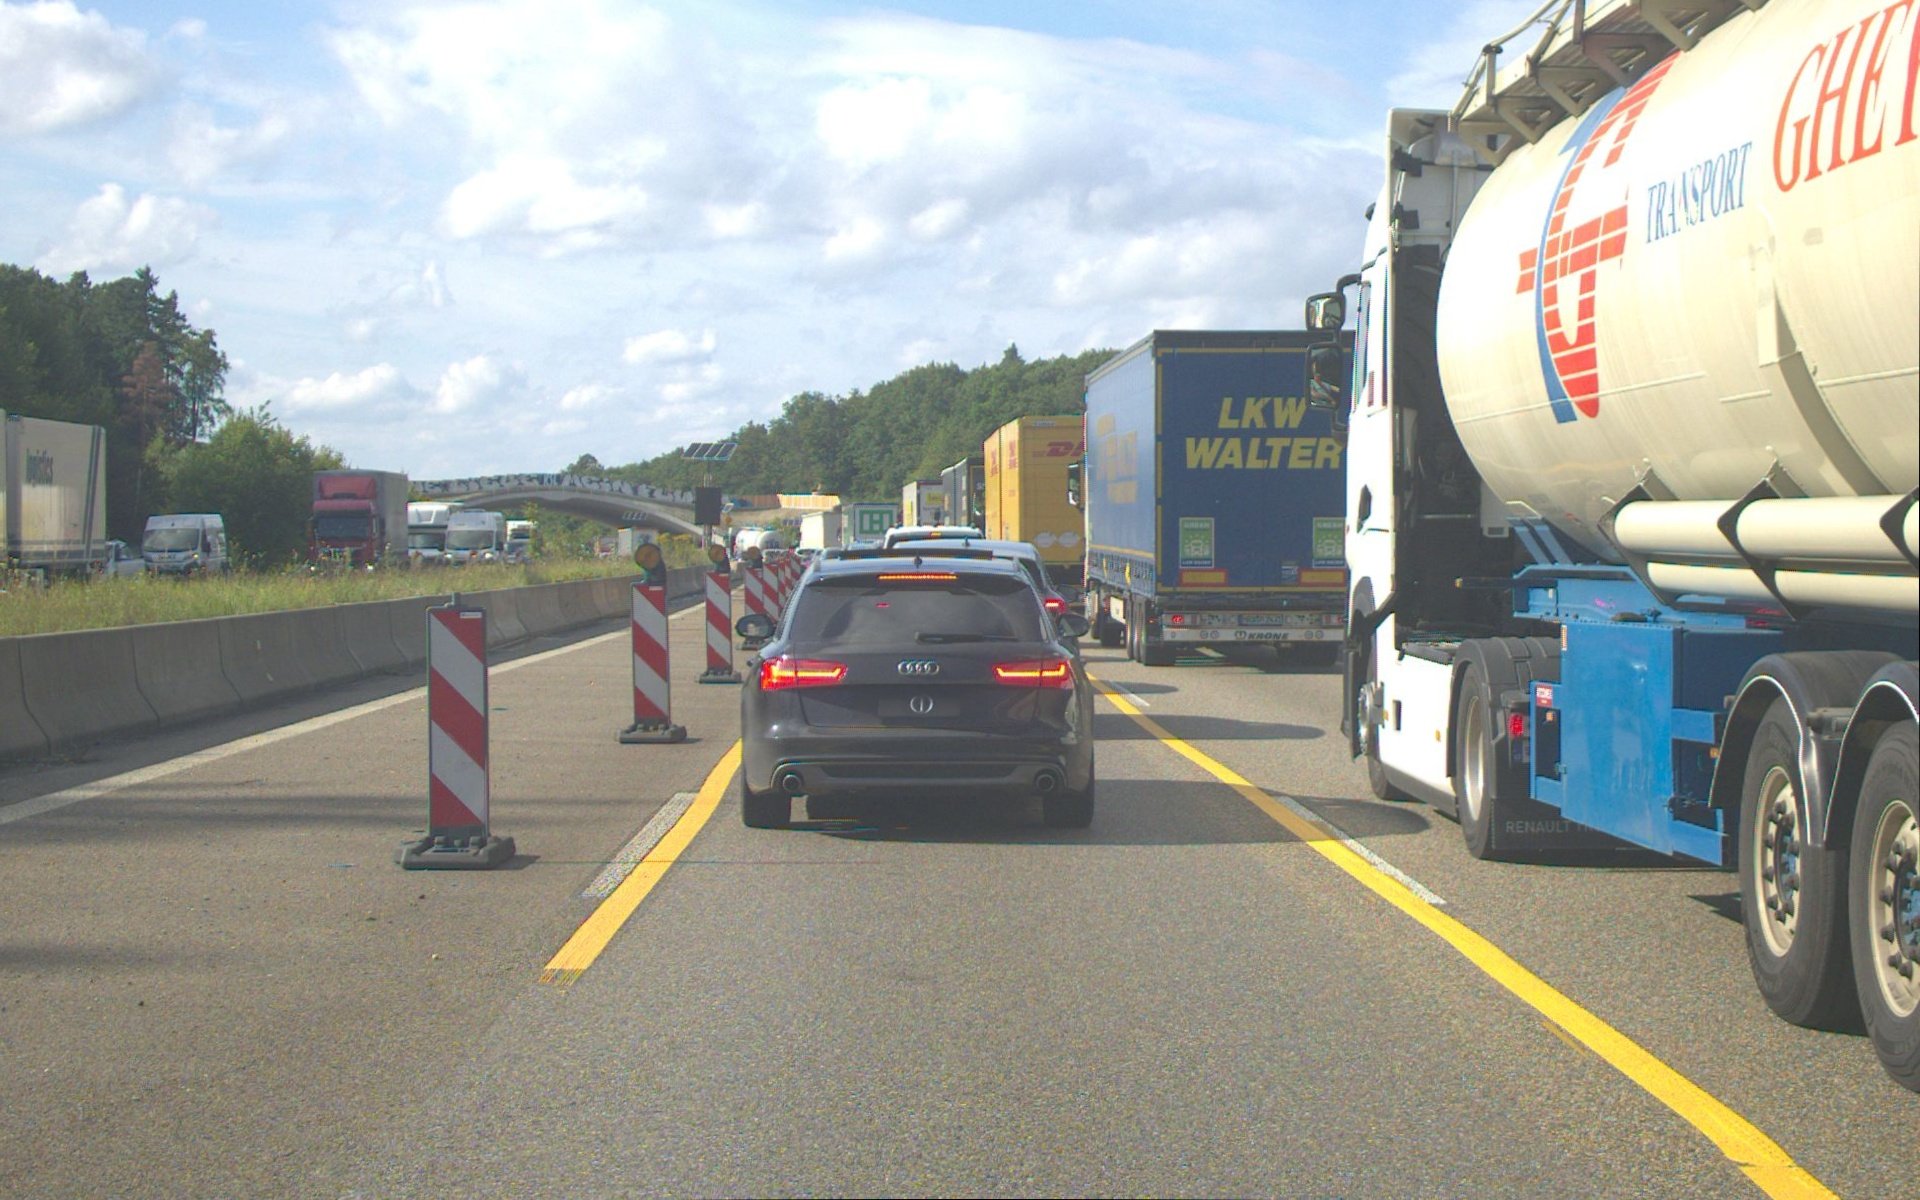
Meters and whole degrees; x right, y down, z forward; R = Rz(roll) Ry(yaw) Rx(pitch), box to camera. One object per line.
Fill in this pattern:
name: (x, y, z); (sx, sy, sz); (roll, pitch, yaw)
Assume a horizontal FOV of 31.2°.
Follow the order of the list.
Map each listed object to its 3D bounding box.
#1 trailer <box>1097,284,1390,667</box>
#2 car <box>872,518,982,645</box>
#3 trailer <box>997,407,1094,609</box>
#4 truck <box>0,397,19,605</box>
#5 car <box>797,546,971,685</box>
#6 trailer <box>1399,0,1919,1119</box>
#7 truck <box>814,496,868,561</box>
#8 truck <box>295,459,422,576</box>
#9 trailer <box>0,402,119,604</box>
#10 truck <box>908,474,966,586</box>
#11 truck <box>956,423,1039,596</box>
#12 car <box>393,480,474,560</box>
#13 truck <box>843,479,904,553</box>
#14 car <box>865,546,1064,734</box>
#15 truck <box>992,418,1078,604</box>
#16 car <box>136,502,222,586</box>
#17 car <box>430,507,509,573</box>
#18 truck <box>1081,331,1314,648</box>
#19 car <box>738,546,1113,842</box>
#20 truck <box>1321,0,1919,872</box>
trailer: (3.490, -1.488, 45.023); (2.805, 4.398, 10.433); (1, 0, -1)
car: (-0.490, -0.288, 51.656); (1.581, 1.830, 3.112); (1, 0, -1)
trailer: (1.700, -1.819, 70.115); (1.616, 3.905, 6.490); (1, 0, -1)
truck: (-19.618, -1.866, 61.370); (2.782, 3.971, 10.863); (1, 0, -1)
car: (-0.790, 0.141, 36.810); (1.751, 1.392, 3.608); (1, 0, -1)
trailer: (3.709, -0.698, 11.622); (2.644, 3.929, 12.598); (1, 1, -1)
truck: (-7.951, -4.726, 228.259); (3.303, 4.160, 9.704); (0, 1, -4)
truck: (-21.503, -2.932, 123.391); (2.800, 3.978, 10.186); (1, 1, 0)
trailer: (-19.789, -1.940, 71.094); (2.790, 3.910, 8.489); (1, 0, -1)
truck: (-0.922, -2.703, 134.788); (2.137, 4.243, 7.072); (1, 0, -1)
truck: (1.061, -2.608, 102.221); (1.993, 4.897, 9.563); (1, 0, -2)
car: (-23.064, -3.465, 150.800); (2.487, 3.358, 7.453); (1, 0, -1)
truck: (-5.026, -4.793, 198.025); (3.304, 4.160, 9.703); (0, 1, -2)
car: (0.016, 0.297, 28.295); (1.524, 1.434, 3.285); (1, 0, -1)
truck: (1.595, -1.886, 74.227); (1.609, 3.883, 4.072); (1, 0, -1)
car: (-25.358, -1.794, 111.743); (2.250, 2.634, 5.021); (1, 0, -8)
car: (-18.745, -2.284, 131.576); (2.160, 2.443, 6.332); (1, 1, 0)
truck: (3.427, -1.561, 51.547); (2.806, 4.354, 7.792); (1, 0, -1)
car: (-0.187, 0.449, 19.014); (1.848, 1.458, 4.000); (0, 0, -1)
truck: (3.634, -0.781, 18.475); (2.659, 3.958, 5.779); (1, 0, -1)
